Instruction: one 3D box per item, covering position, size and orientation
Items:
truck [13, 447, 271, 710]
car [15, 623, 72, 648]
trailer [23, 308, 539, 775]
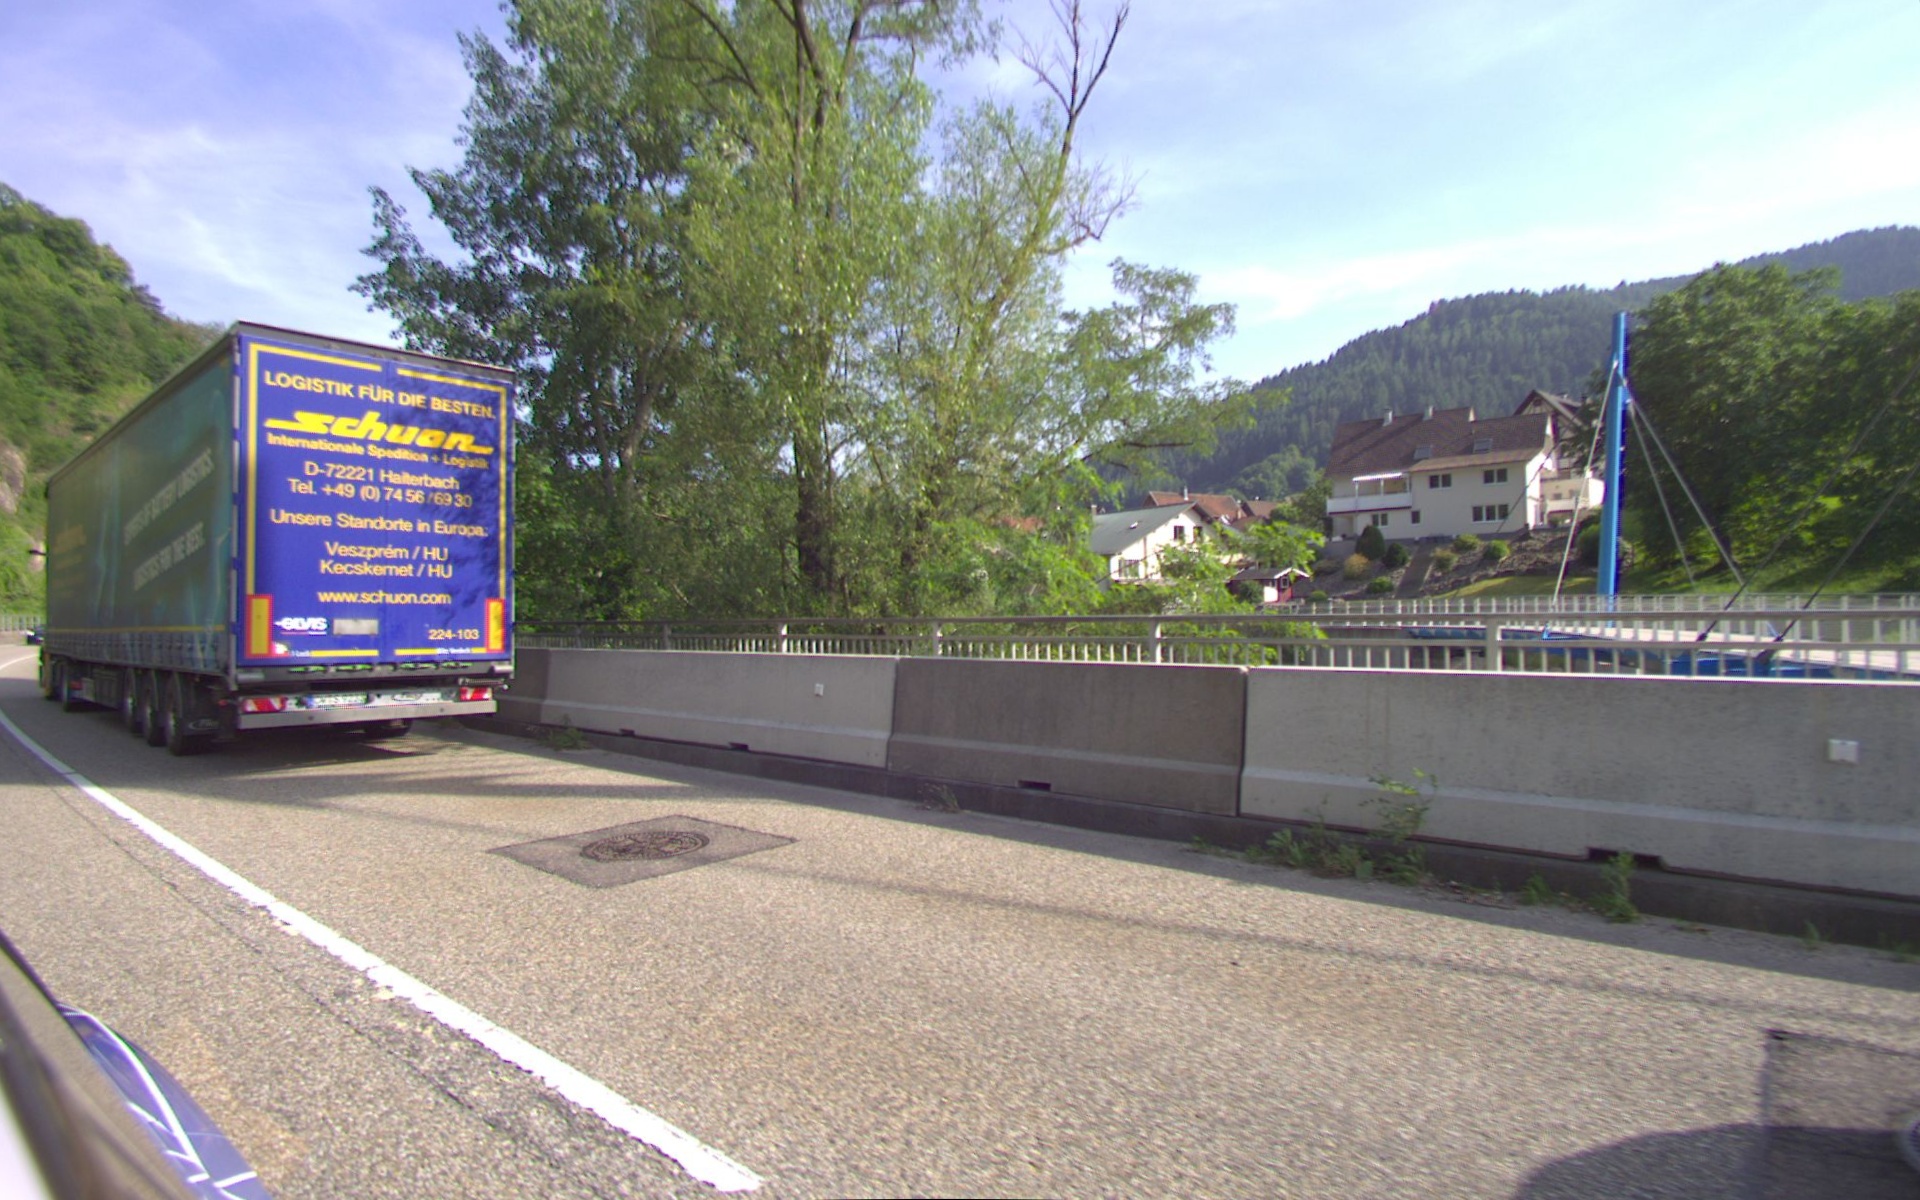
[{"bbox_3d":[-15.329,-0.266,18.785,6.410,4.059,2.712,-1,-2,42],"label":"truck"},{"bbox_3d":[-55.199,2.120,61.023,1.966,1.506,4.231,1,-2,-34],"label":"car"},{"bbox_3d":[-10.537,-0.376,14.391,13.666,4.043,2.826,-1,-2,42],"label":"trailer"}]
